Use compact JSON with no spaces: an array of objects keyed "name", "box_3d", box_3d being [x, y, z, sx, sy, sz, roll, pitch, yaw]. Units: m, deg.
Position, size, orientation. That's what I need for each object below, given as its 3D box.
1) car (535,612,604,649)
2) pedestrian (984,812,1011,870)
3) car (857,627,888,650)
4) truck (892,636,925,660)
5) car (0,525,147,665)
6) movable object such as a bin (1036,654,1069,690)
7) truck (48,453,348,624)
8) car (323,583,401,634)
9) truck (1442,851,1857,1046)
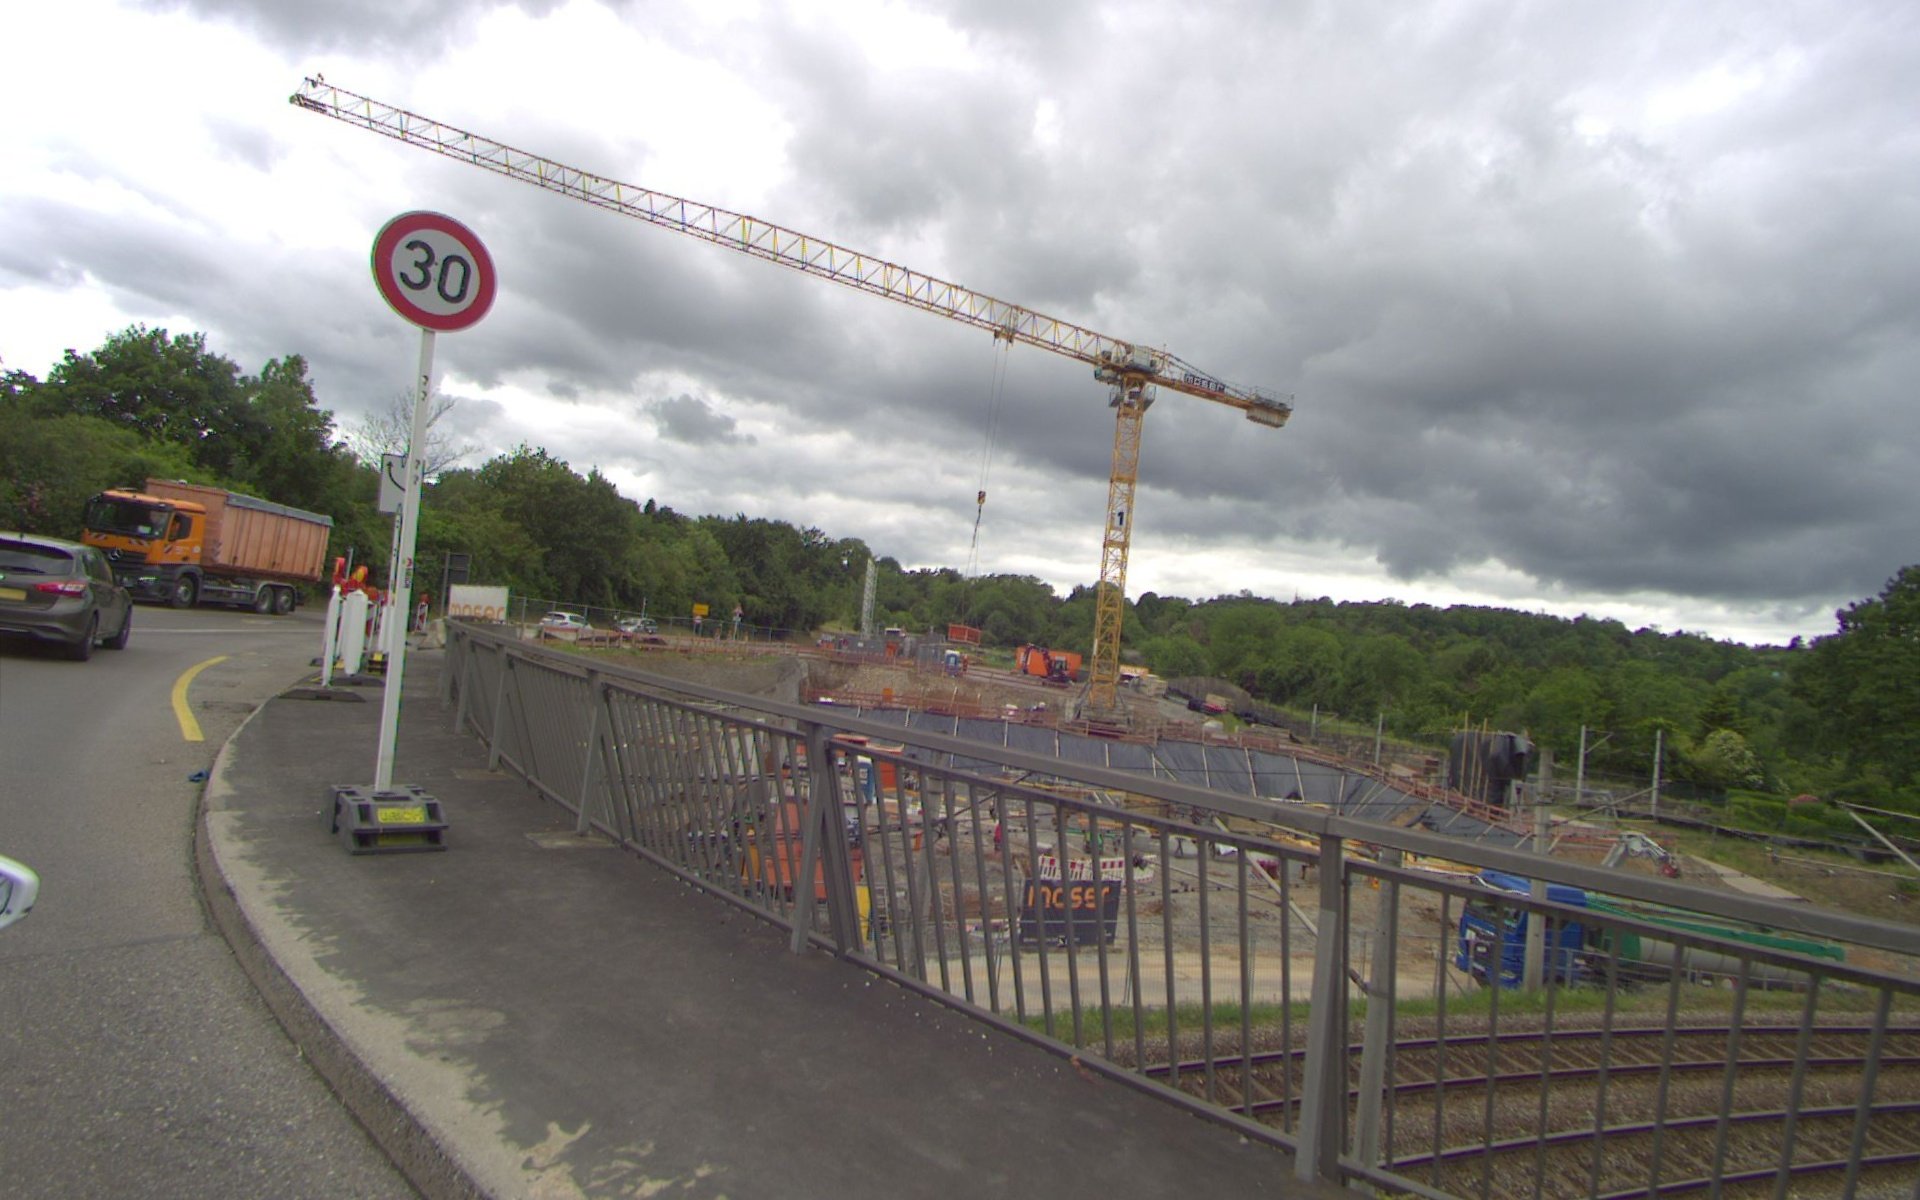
[{"name":"car","box_3d":[-21.747,1.730,56.220,1.684,1.693,4.009,5,-4,9]},{"name":"pedestrian","box_3d":[1.417,9.088,37.998,0.692,2.032,0.804,6,-7,-9]},{"name":"car","box_3d":[-9.364,4.121,107.539,1.962,2.035,4.008,5,-4,13]},{"name":"truck","box_3d":[-7.818,7.455,154.984,2.775,3.374,8.392,5,-2,11]},{"name":"car","box_3d":[-12.569,-0.127,13.623,1.788,1.568,3.969,10,-5,-32]},{"name":"movable object such as a bin","box_3d":[8.827,6.847,95.686,2.747,3.111,1.845,5,-3,10]},{"name":"truck","box_3d":[-24.940,-1.668,33.945,3.066,4.266,9.796,7,-4,-6]},{"name":"car","box_3d":[-22.331,0.329,37.720,1.802,1.569,3.772,9,-4,-23]},{"name":"truck","box_3d":[20.633,10.405,30.178,11.432,3.933,2.845,9,-4,-11]}]
